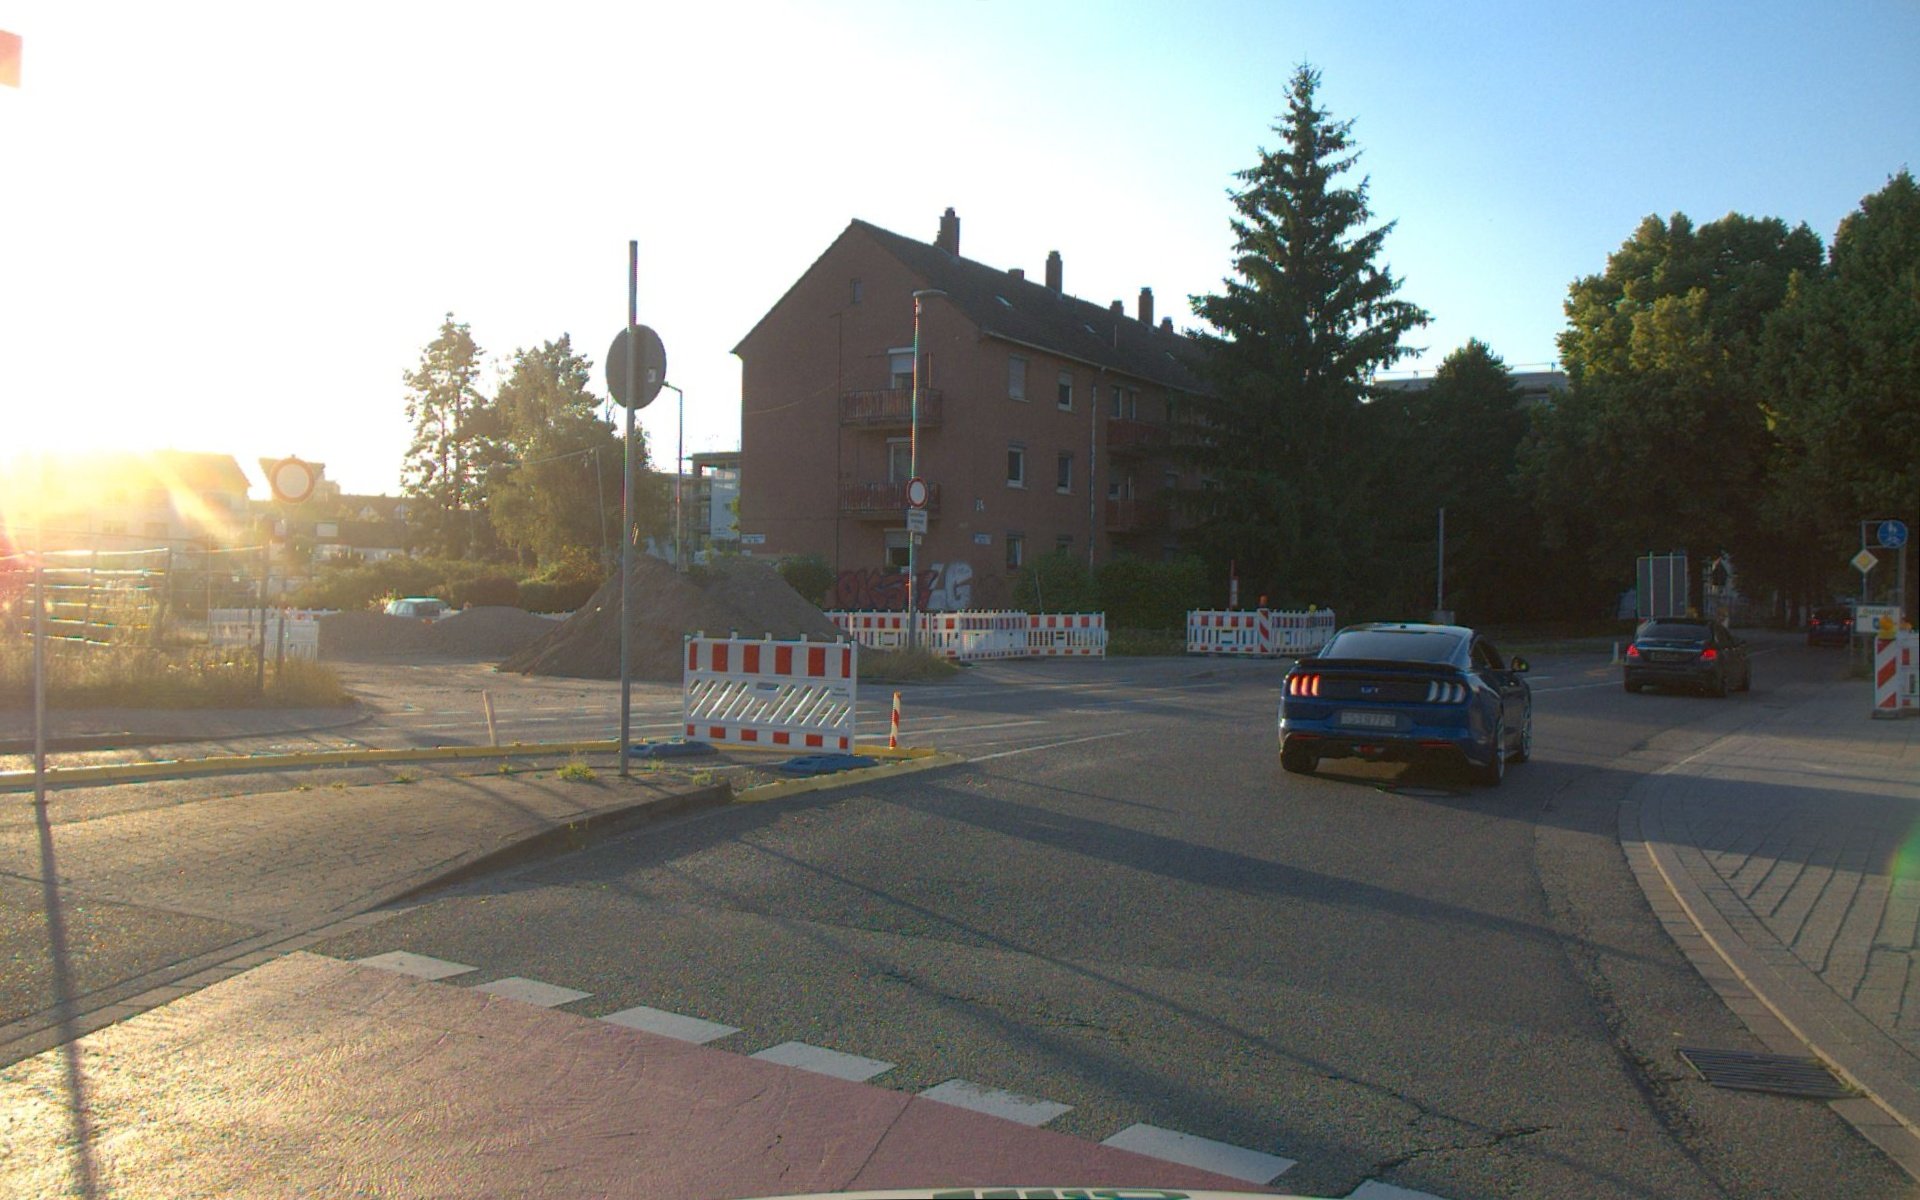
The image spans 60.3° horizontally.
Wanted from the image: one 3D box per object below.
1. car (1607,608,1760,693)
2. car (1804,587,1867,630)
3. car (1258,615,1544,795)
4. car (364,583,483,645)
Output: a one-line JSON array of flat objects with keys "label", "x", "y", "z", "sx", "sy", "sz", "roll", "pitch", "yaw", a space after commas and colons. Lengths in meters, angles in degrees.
[{"label": "car", "x": 14.149, "y": 0.931, "z": 32.202, "sx": 1.918, "sy": 1.452, "sz": 4.415, "roll": 3, "pitch": 1, "yaw": 34}, {"label": "car", "x": 35.993, "y": 0.327, "z": 67.924, "sx": 1.917, "sy": 1.598, "sz": 4.418, "roll": 2, "pitch": 2, "yaw": 32}, {"label": "car", "x": 4.315, "y": 0.860, "z": 15.622, "sx": 1.912, "sy": 1.365, "sz": 4.668, "roll": 2, "pitch": 0, "yaw": 24}, {"label": "car", "x": -15.829, "y": 0.395, "z": 48.686, "sx": 1.982, "sy": 1.736, "sz": 3.941, "roll": 1, "pitch": 0, "yaw": -41}]
